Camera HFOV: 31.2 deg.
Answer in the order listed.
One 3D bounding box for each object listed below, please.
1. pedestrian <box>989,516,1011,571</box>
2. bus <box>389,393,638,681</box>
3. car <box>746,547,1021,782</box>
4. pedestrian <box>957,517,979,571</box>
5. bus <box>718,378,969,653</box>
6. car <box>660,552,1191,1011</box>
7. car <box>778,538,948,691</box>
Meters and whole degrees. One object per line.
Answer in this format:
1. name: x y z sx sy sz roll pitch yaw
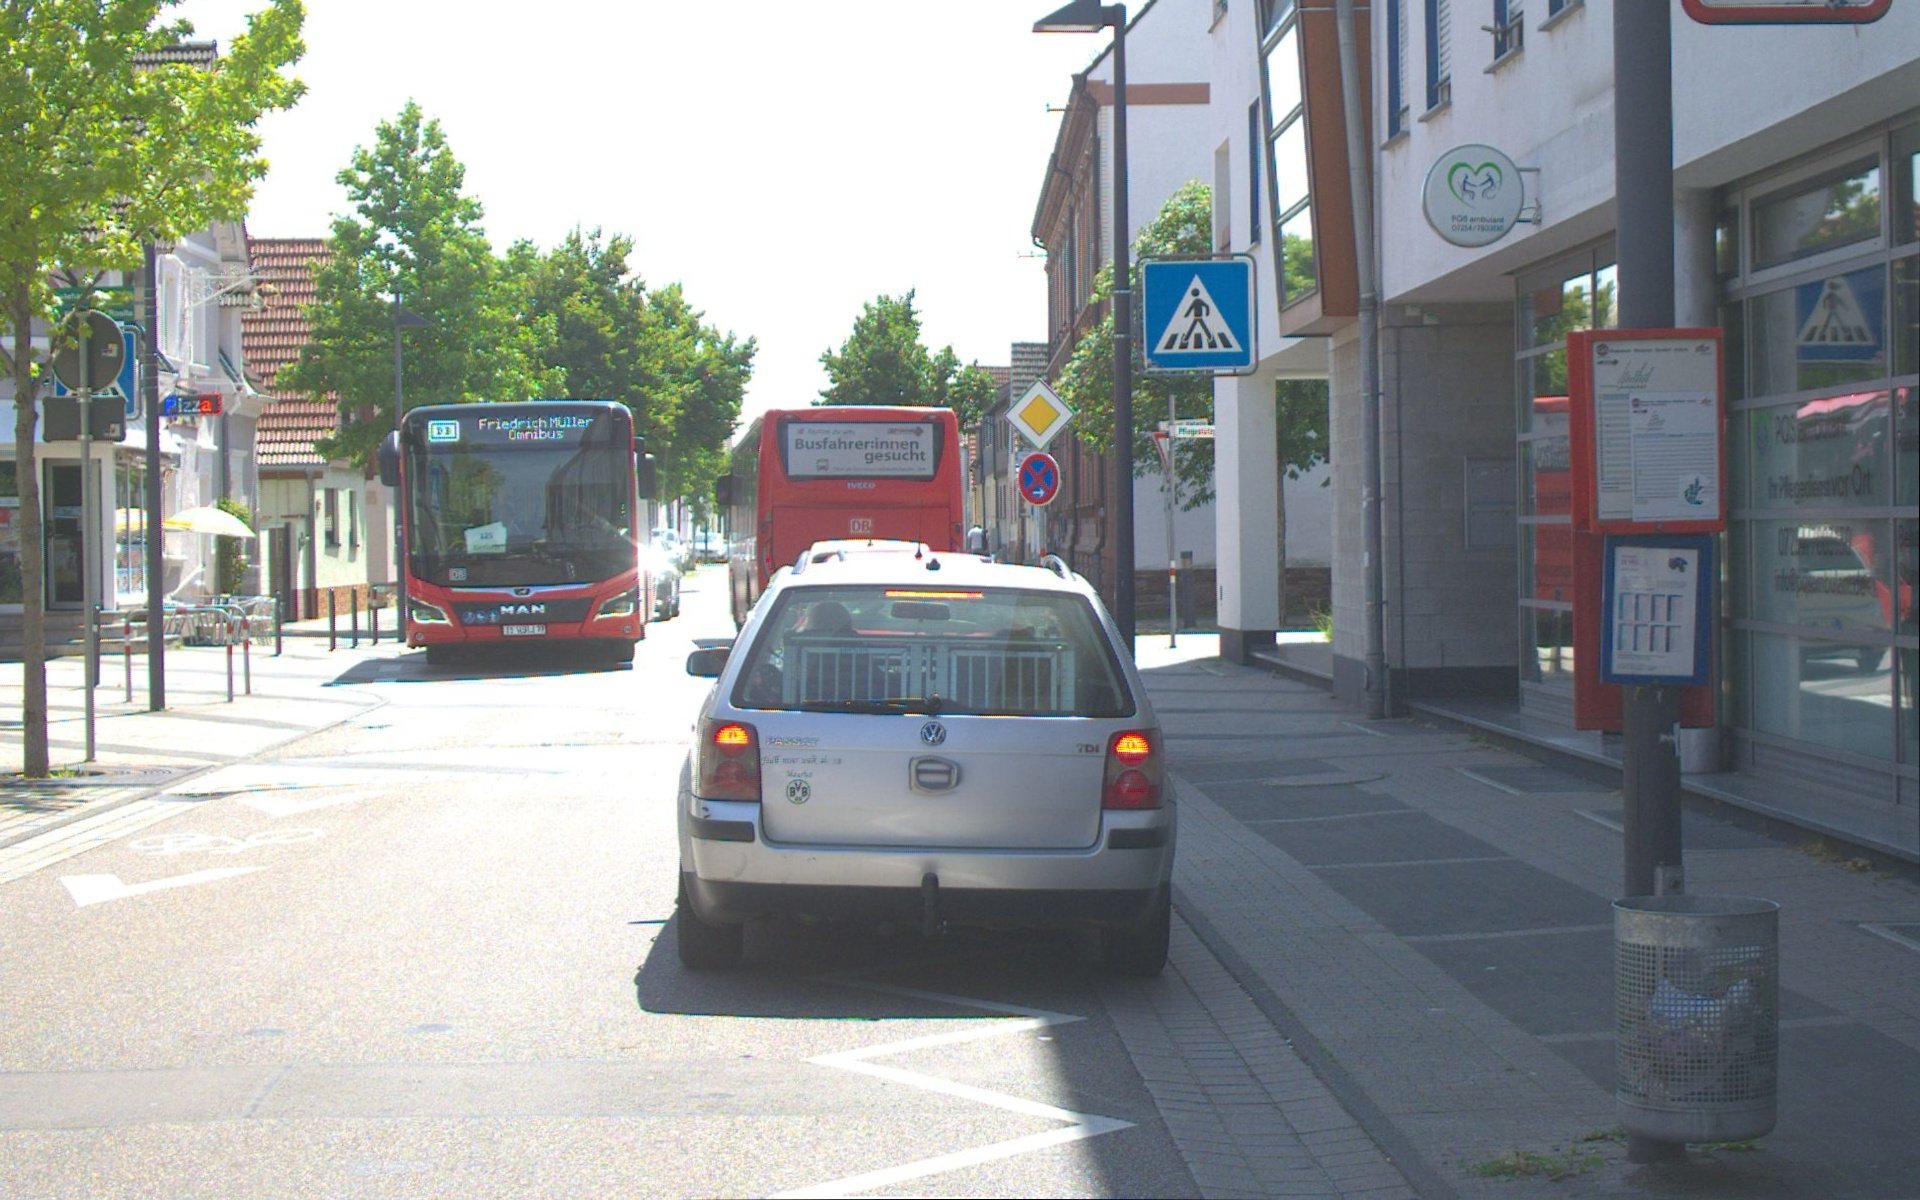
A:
1. pedestrian: 1.213 -1.719 104.158 0.606 1.661 0.789 -1 1 -3
2. bus: -5.823 -0.843 46.137 2.668 3.113 17.811 0 1 -6
3. car: -0.527 0.365 22.858 1.677 1.425 3.680 0 1 -2
4. pedestrian: 0.252 -1.711 105.227 0.606 1.661 0.789 -1 1 -3
5. bus: -1.833 -1.103 47.580 2.739 3.287 12.707 0 1 -5
6. car: -0.172 0.561 12.891 1.677 1.425 3.680 1 1 -2
7. car: -0.951 0.106 34.405 1.593 1.425 3.680 1 1 -1
